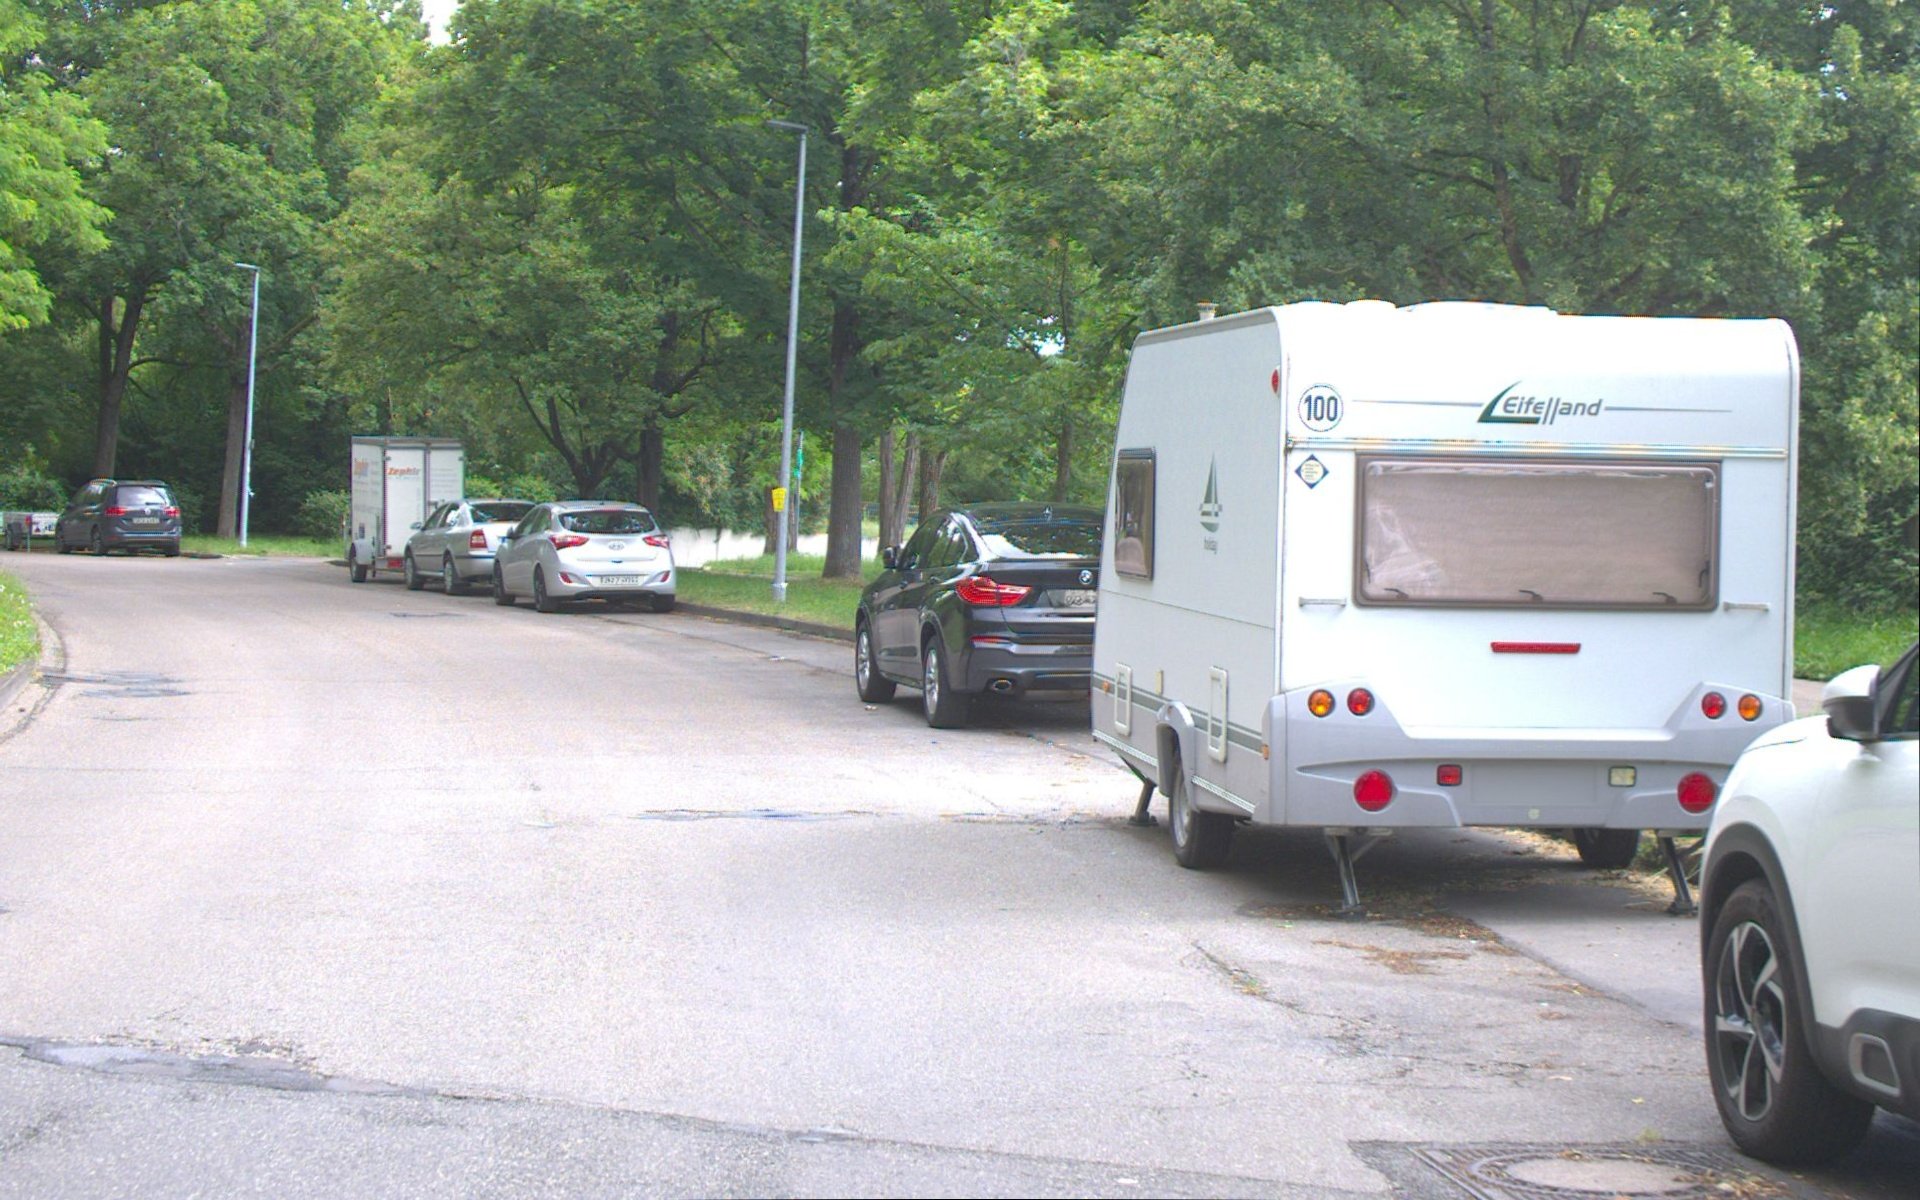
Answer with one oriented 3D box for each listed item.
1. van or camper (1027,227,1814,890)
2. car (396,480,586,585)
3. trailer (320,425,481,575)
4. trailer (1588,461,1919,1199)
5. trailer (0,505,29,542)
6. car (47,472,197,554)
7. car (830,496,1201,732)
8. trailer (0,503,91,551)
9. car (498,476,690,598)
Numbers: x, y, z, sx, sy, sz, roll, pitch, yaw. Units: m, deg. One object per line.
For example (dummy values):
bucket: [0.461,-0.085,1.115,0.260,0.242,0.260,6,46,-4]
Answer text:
van or camper: [1.885,-0.214,16.519,2.161,2.527,6.033,2,1,-7]
car: [-7.242,-1.054,52.698,1.741,1.520,4.637,0,2,-23]
trailer: [-9.420,-1.681,57.646,1.760,2.418,3.888,0,2,-23]
trailer: [2.859,0.573,7.391,1.772,1.725,4.651,0,1,-5]
trailer: [-24.005,-1.870,84.029,1.363,0.845,3.278,3,-1,-34]
car: [-18.254,-1.899,74.758,1.775,1.657,4.841,2,0,-30]
car: [0.320,0.040,26.584,1.848,1.637,4.532,1,2,-12]
trailer: [-21.418,-1.714,79.988,1.357,0.965,3.893,3,1,-29]
car: [-4.991,-0.814,46.441,1.901,1.471,4.060,2,-1,-15]
